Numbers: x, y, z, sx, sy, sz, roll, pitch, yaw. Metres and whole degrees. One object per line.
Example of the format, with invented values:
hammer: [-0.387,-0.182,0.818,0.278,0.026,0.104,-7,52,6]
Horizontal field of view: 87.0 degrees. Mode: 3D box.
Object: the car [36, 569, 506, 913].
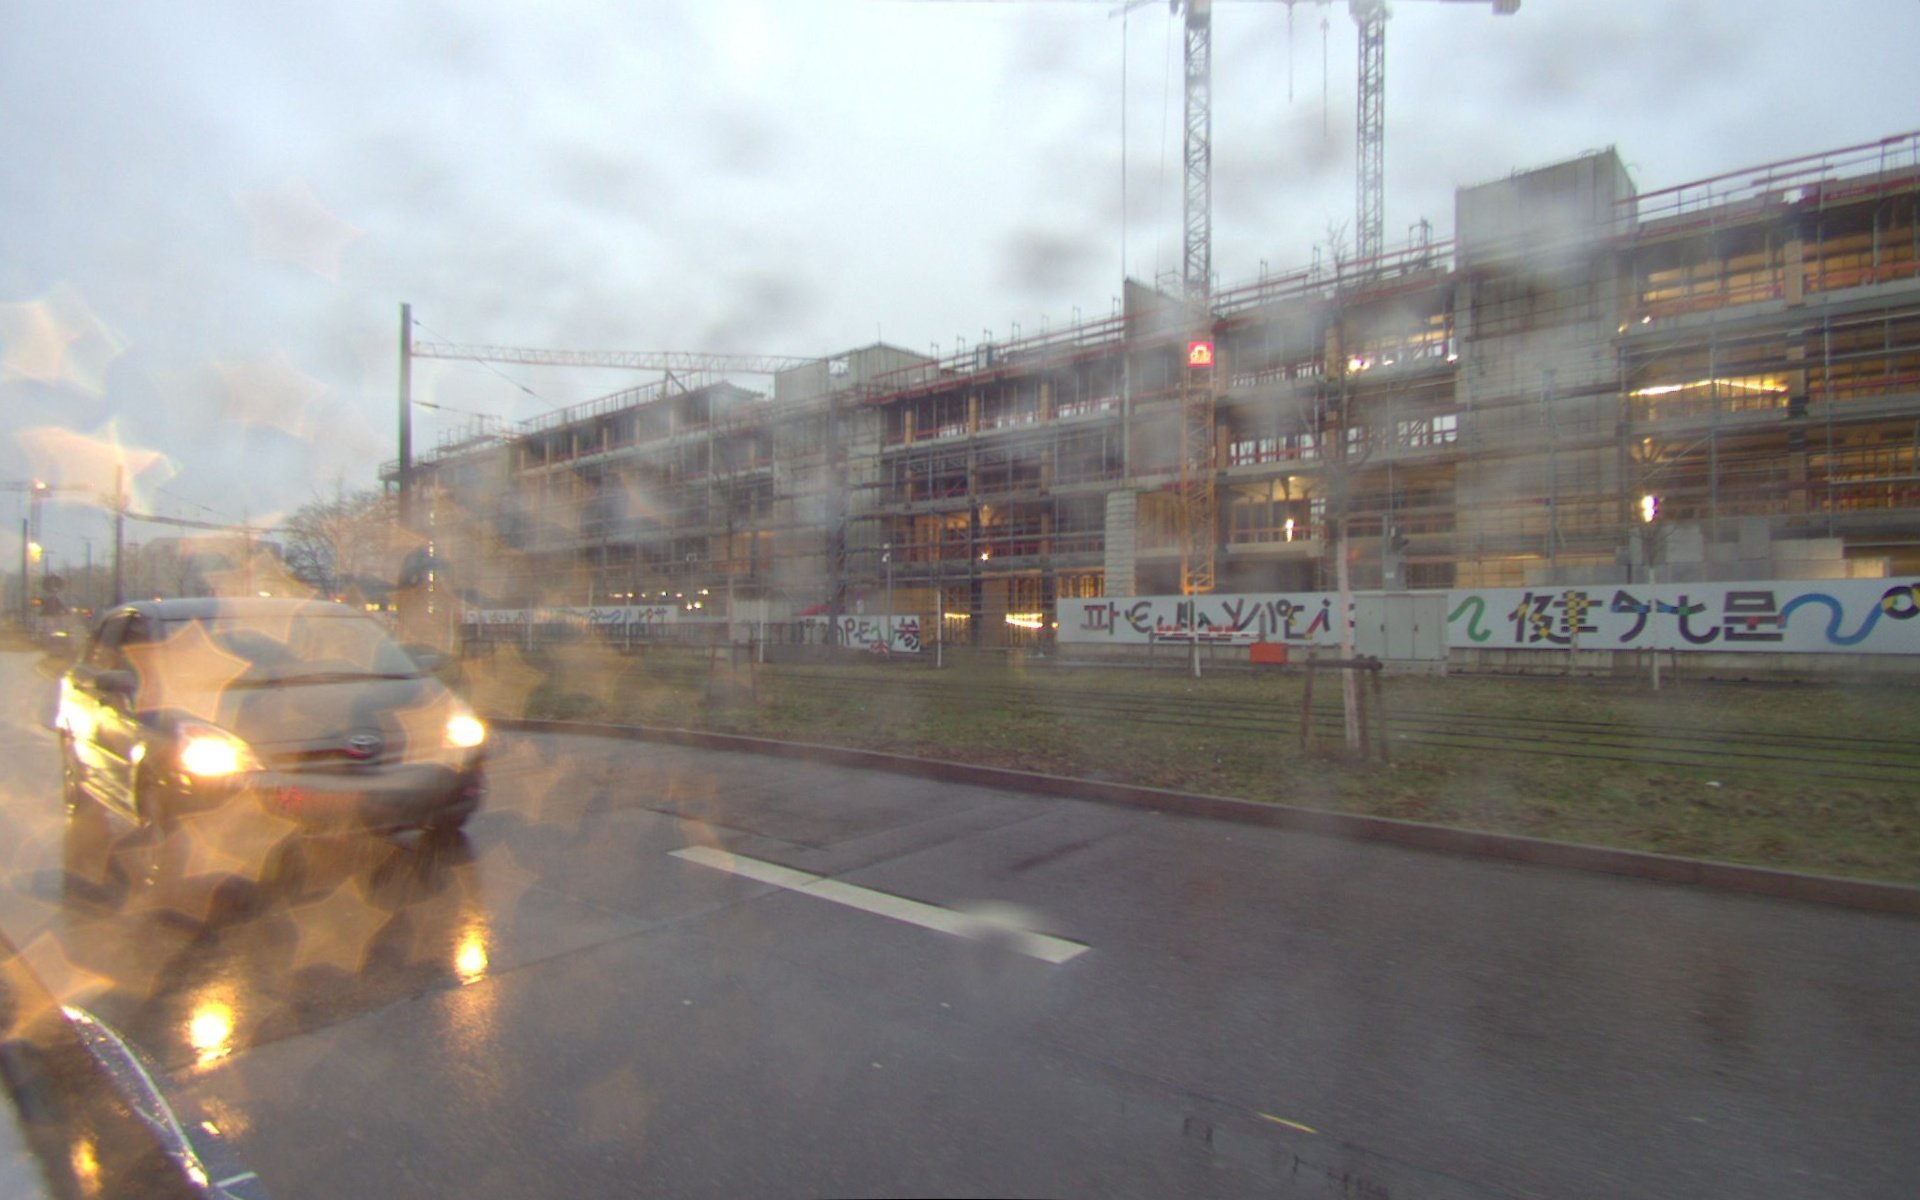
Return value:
car: [-4.903,0.733,6.960,4.134,1.659,1.791,-2,-2,43]
